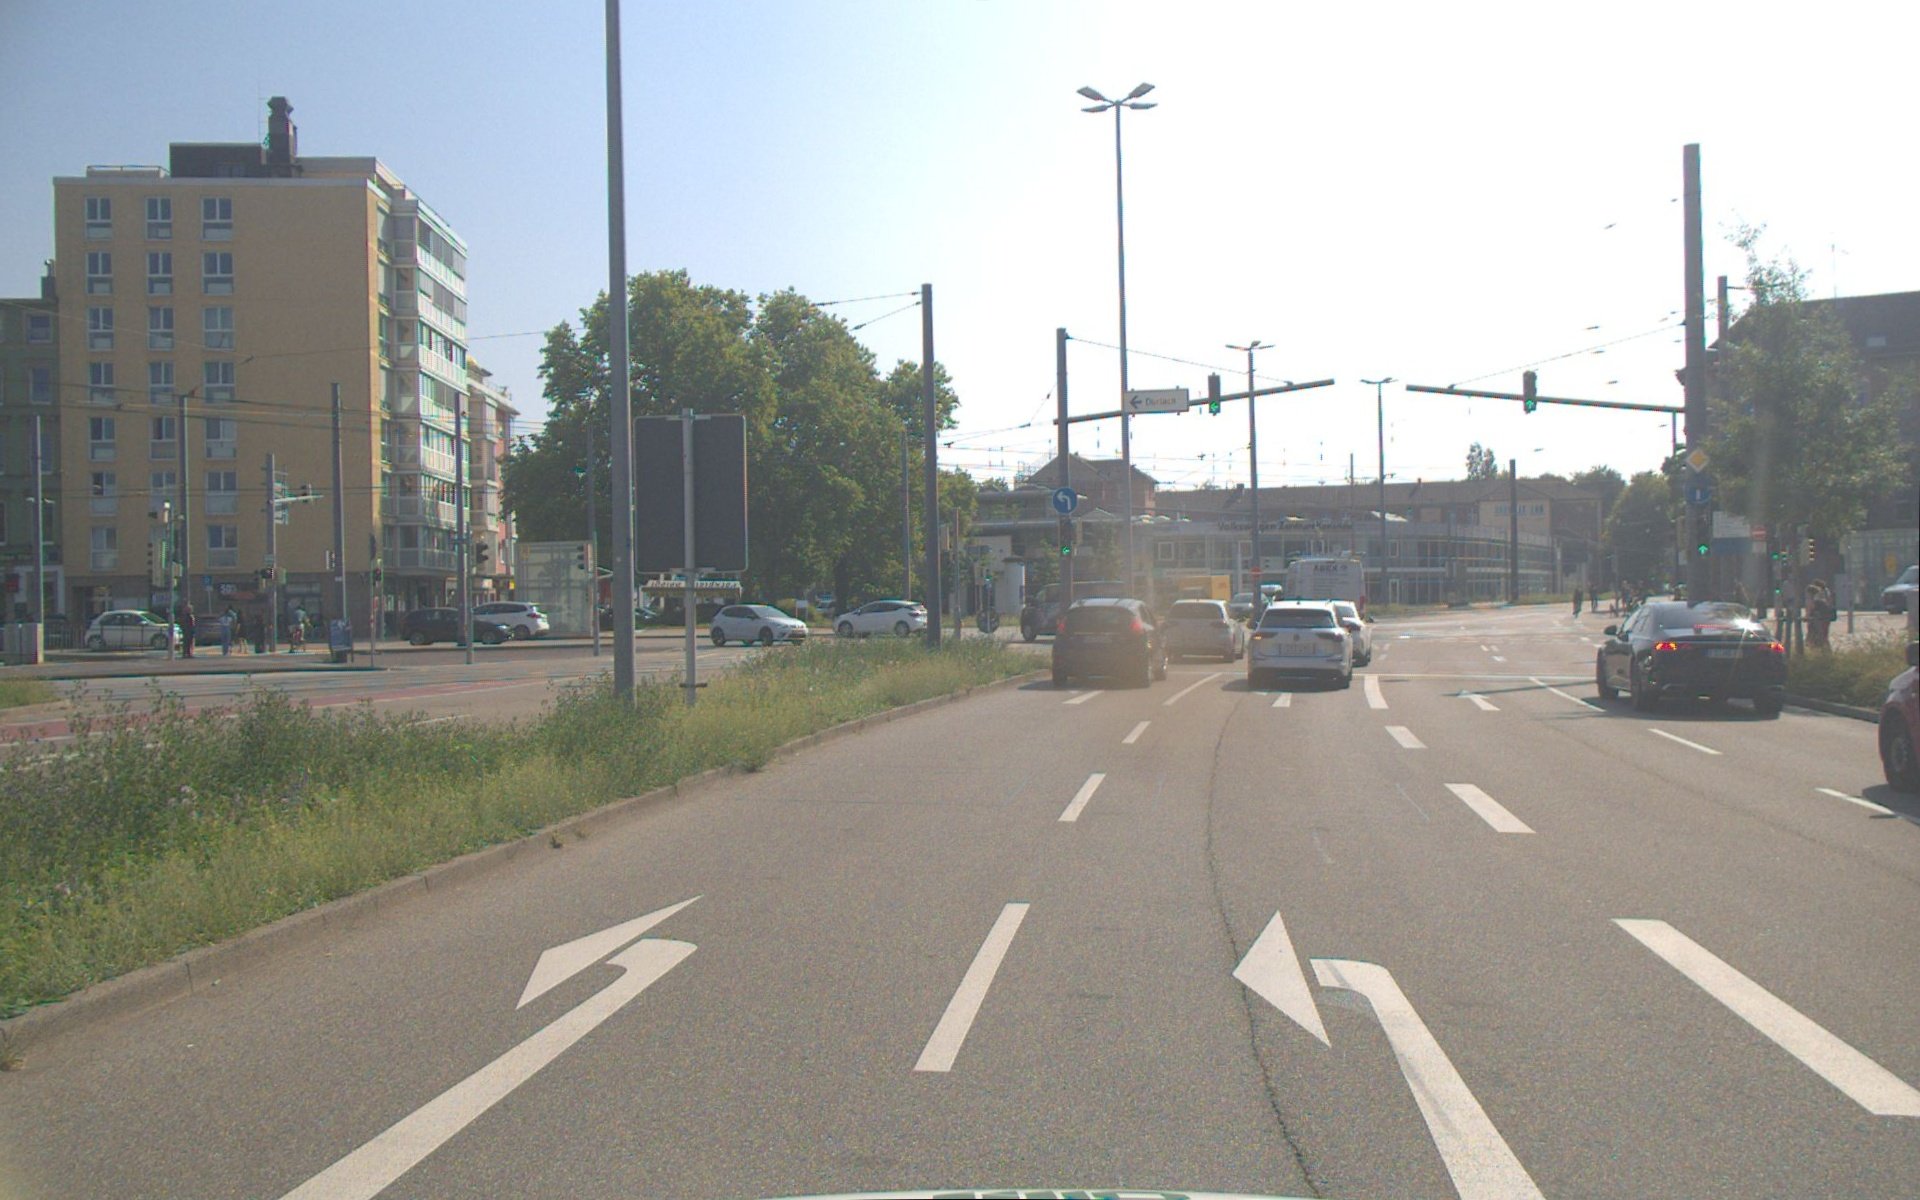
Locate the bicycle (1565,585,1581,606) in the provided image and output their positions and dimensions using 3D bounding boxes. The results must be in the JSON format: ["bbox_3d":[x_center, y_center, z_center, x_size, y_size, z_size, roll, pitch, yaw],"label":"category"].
[{"bbox_3d":[32.434,-0.236,87.556,0.691,1.080,1.982,-1,0,23],"label":"bicycle"}]

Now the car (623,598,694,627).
[{"bbox_3d":[-17.491,0.721,96.058,3.908,1.585,1.726,-1,0,-4],"label":"car"}]

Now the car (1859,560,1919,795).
[{"bbox_3d":[8.230,0.600,11.938,1.695,1.851,4.281,-1,0,9],"label":"car"}]

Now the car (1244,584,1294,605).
[{"bbox_3d":[19.401,-0.358,103.729,1.859,1.302,4.126,-1,0,29],"label":"car"}]

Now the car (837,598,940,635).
[{"bbox_3d":[-2.926,0.658,67.186,3.906,1.397,1.568,0,3,26],"label":"car"}]

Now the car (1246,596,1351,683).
[{"bbox_3d":[5.821,0.656,28.748,1.649,1.412,3.637,-1,-1,10],"label":"car"}]

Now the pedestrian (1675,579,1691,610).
[{"bbox_3d":[37.091,-0.266,84.841,0.731,1.556,0.806,-1,0,23],"label":"pedestrian"}]

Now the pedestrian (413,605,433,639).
[{"bbox_3d":[-26.492,1.075,81.637,0.834,1.649,0.541,-1,0,-7],"label":"pedestrian"}]

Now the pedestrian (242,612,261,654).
[{"bbox_3d":[-25.841,1.197,60.334,0.494,1.513,0.434,-3,3,-42],"label":"pedestrian"}]

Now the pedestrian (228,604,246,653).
[{"bbox_3d":[-26.187,1.028,59.892,0.452,1.714,0.434,-3,3,-42],"label":"pedestrian"}]

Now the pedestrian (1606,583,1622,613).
[{"bbox_3d":[34.168,-0.092,86.453,0.731,1.556,0.806,-1,0,23],"label":"pedestrian"}]

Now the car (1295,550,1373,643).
[{"bbox_3d":[11.065,-0.073,49.115,2.142,2.594,4.687,-1,-1,12],"label":"car"}]

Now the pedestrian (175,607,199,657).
[{"bbox_3d":[-27.067,1.127,57.933,0.445,1.714,0.547,0,2,21],"label":"pedestrian"}]

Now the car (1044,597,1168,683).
[{"bbox_3d":[2.608,0.673,28.854,1.665,1.392,3.967,-1,-1,12],"label":"car"}]

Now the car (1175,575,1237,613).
[{"bbox_3d":[14.015,-0.343,94.045,1.956,2.049,4.655,-1,0,30],"label":"car"}]

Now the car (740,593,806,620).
[{"bbox_3d":[-11.455,0.412,101.280,3.908,1.585,1.726,-1,0,-4],"label":"car"}]

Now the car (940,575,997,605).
[{"bbox_3d":[0.603,-0.713,119.778,3.902,2.048,2.002,0,2,7],"label":"car"}]

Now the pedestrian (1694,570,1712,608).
[{"bbox_3d":[37.765,-0.576,84.072,0.787,1.922,0.748,-1,0,23],"label":"pedestrian"}]

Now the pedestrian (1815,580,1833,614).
[{"bbox_3d":[35.204,-0.119,67.382,0.645,1.384,0.658,0,2,27],"label":"pedestrian"}]

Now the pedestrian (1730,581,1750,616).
[{"bbox_3d":[35.050,-0.073,74.318,0.731,1.556,0.806,-1,0,23],"label":"pedestrian"}]

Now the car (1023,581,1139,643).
[{"bbox_3d":[4.106,0.413,56.991,1.998,2.043,4.646,0,0,-25],"label":"car"}]

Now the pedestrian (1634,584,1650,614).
[{"bbox_3d":[35.119,-0.046,85.145,0.731,1.556,0.806,-1,0,23],"label":"pedestrian"}]

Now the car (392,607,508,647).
[{"bbox_3d":[-19.413,1.019,63.099,3.961,1.423,1.585,-1,0,-7],"label":"car"}]

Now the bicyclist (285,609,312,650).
[{"bbox_3d":[-23.903,1.048,59.756,0.712,1.459,0.689,-1,0,-8],"label":"bicyclist"}]

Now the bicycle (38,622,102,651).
[{"bbox_3d":[-39.542,1.633,73.482,2.423,1.135,0.731,-2,3,-32],"label":"bicycle"}]

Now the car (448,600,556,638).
[{"bbox_3d":[-19.007,0.794,68.745,3.990,1.528,1.628,0,-1,3],"label":"car"}]

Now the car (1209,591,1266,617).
[{"bbox_3d":[15.236,0.215,90.601,1.858,1.348,4.127,-1,0,28],"label":"car"}]

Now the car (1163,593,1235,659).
[{"bbox_3d":[5.736,0.587,39.391,1.457,1.440,3.651,-1,1,12],"label":"car"}]

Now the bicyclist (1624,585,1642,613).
[{"bbox_3d":[35.358,-0.050,86.926,0.788,1.486,0.748,-1,0,26],"label":"bicyclist"}]

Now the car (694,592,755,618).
[{"bbox_3d":[-15.604,0.335,109.772,3.908,1.585,1.726,-1,0,-4],"label":"car"}]

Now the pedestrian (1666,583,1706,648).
[{"bbox_3d":[15.921,0.334,36.275,0.622,1.386,0.634,-1,0,6],"label":"pedestrian"}]

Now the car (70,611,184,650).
[{"bbox_3d":[-32.714,1.194,65.018,3.663,1.417,1.586,-1,0,-3],"label":"car"}]

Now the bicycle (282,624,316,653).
[{"bbox_3d":[-23.899,1.389,59.788,0.714,1.001,1.729,-1,0,-8],"label":"bicycle"}]

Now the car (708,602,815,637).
[{"bbox_3d":[-7.188,0.709,59.743,3.762,1.200,1.571,-1,0,34],"label":"car"}]

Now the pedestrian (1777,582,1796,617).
[{"bbox_3d":[32.814,-0.027,65.681,0.645,1.384,0.658,0,2,27],"label":"pedestrian"}]

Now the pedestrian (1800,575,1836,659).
[{"bbox_3d":[17.099,0.336,32.959,0.603,1.667,0.533,-1,0,30],"label":"pedestrian"}]

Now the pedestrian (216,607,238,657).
[{"bbox_3d":[-26.019,1.134,58.707,0.445,1.714,0.548,0,2,8],"label":"pedestrian"}]

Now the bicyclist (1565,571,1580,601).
[{"bbox_3d":[32.446,-0.727,87.595,0.698,1.556,0.806,-1,0,23],"label":"bicyclist"}]

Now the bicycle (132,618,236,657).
[{"bbox_3d":[-34.271,1.639,73.101,3.910,1.578,1.195,-1,2,-6],"label":"bicycle"}]

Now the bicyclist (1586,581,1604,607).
[{"bbox_3d":[38.396,-0.359,99.966,0.759,1.606,0.986,-1,-1,37],"label":"bicyclist"}]

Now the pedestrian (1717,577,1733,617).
[{"bbox_3d":[39.874,-0.153,86.211,0.731,2.049,0.806,-1,0,23],"label":"pedestrian"}]

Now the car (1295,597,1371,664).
[{"bbox_3d":[8.462,0.680,37.729,1.457,1.427,3.945,-1,-1,10],"label":"car"}]

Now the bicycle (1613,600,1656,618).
[{"bbox_3d":[35.435,0.452,86.894,2.011,0.910,0.745,-1,0,27],"label":"bicycle"}]

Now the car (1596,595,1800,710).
[{"bbox_3d":[10.395,0.671,23.668,1.781,1.465,4.878,0,0,13],"label":"car"}]

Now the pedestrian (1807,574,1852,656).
[{"bbox_3d":[17.852,0.297,33.972,0.602,1.657,0.534,-1,0,-1],"label":"pedestrian"}]
